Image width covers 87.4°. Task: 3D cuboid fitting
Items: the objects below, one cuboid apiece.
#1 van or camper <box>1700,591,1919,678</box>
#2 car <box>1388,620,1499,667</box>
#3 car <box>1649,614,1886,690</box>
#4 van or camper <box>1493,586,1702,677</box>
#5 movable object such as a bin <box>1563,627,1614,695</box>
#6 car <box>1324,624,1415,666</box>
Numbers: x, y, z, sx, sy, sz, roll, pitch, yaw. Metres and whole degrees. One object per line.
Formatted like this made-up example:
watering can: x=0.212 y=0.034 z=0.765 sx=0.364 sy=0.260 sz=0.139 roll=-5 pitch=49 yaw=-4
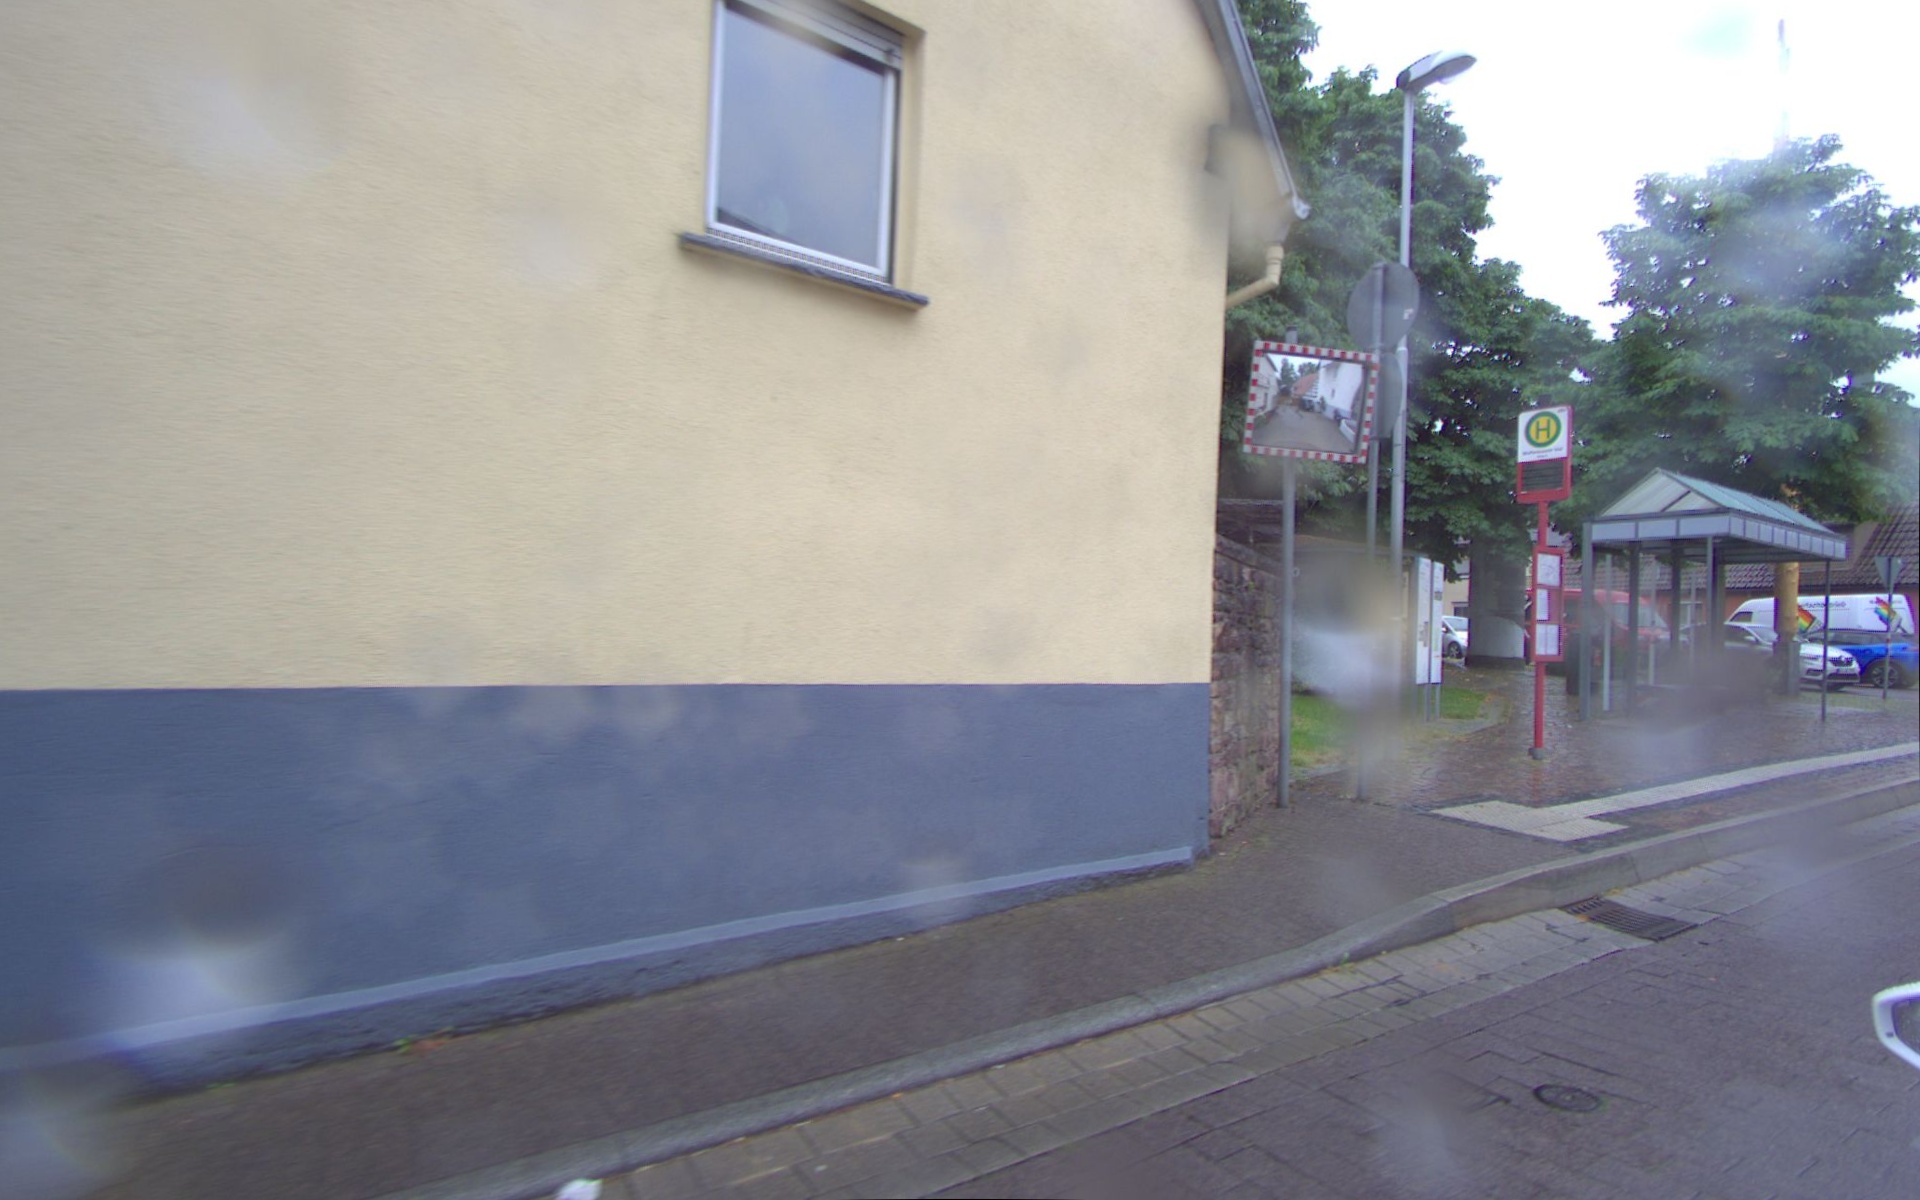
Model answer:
van or camper: x=25.993 y=1.026 z=30.996 sx=2.170 sy=2.468 sz=5.153 roll=0 pitch=-1 yaw=-7
car: x=17.922 y=1.597 z=37.417 sx=1.769 sy=1.570 sz=3.803 roll=3 pitch=-1 yaw=-12
car: x=20.107 y=1.238 z=25.312 sx=1.850 sy=1.570 sz=4.450 roll=2 pitch=1 yaw=-12
van or camper: x=19.442 y=0.859 z=31.077 sx=2.115 sy=2.506 sz=5.870 roll=2 pitch=0 yaw=-8
movable object such as a bin: x=11.080 y=1.073 z=17.710 sx=0.599 sy=1.161 sz=0.558 roll=4 pitch=-2 yaw=-35
car: x=17.106 y=1.863 z=42.167 sx=1.768 sy=1.570 sz=3.805 roll=3 pitch=-1 yaw=-9
